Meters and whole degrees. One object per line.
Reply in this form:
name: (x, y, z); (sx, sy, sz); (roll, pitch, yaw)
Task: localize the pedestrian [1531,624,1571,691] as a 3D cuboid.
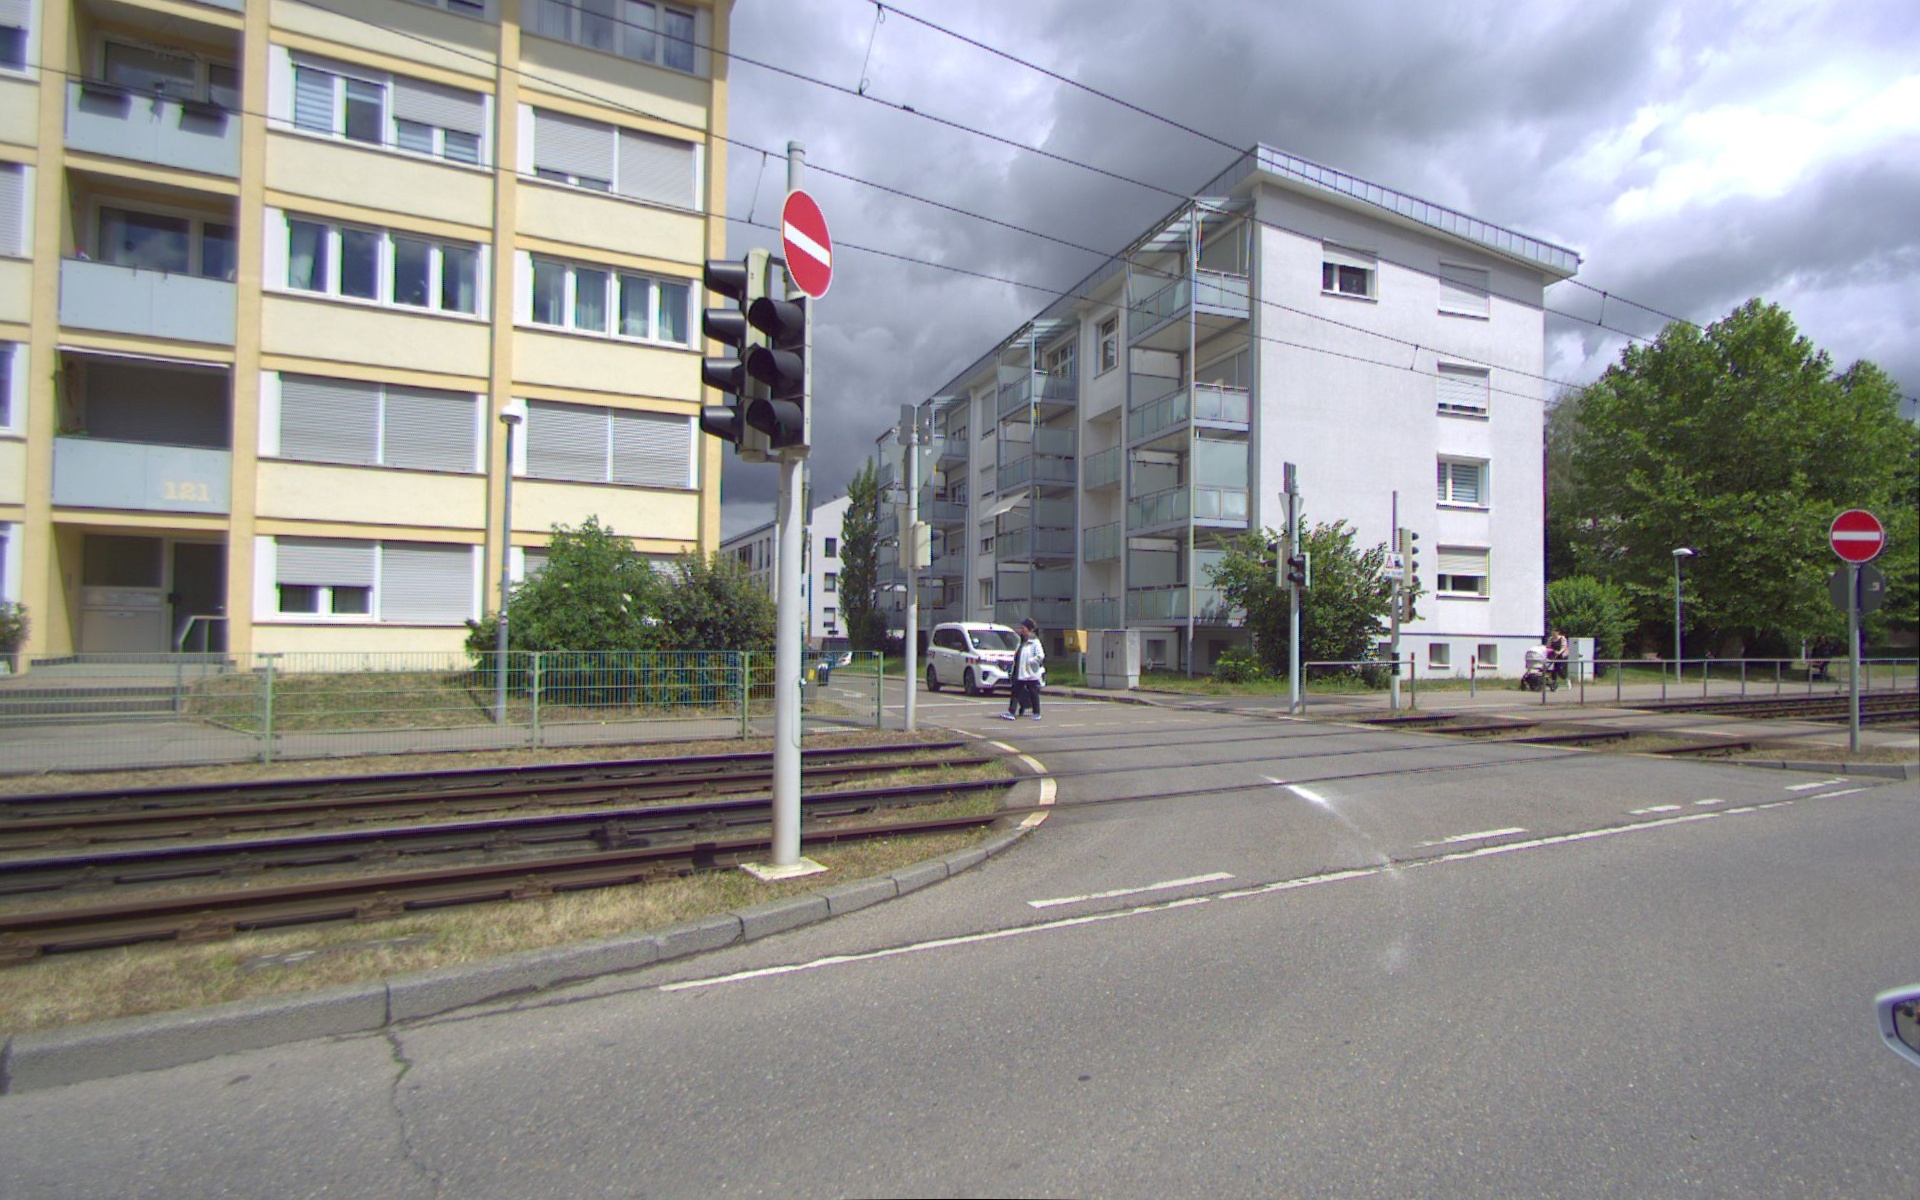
pedestrian: (15.335, 1.484, 26.069); (0.671, 1.715, 0.642); (2, -1, -28)

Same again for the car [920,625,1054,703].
car: (0.567, 1.533, 25.137); (1.784, 1.752, 4.269); (2, -2, -22)

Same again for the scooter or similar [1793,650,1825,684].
scooter or similar: (29.121, 2.288, 34.448); (0.811, 1.130, 0.601); (2, -1, -30)

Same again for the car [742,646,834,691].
car: (-5.300, 2.039, 30.524); (1.894, 1.186, 3.978); (2, -2, -23)

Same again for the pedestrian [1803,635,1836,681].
pedestrian: (29.864, 2.014, 34.883); (0.864, 1.560, 0.610); (2, -1, -30)

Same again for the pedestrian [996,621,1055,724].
pedestrian: (1.063, 1.174, 16.345); (0.764, 1.628, 0.601); (2, -3, -30)

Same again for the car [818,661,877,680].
car: (-8.285, 5.173, 74.018); (3.950, 1.210, 1.880); (2, 0, -28)

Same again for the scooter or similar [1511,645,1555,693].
scooter or similar: (14.650, 1.757, 25.686); (0.881, 1.178, 0.605); (2, -1, -28)

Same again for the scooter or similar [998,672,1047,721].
scooter or similar: (1.059, 1.625, 16.996); (0.658, 0.784, 0.530); (2, -3, -30)
